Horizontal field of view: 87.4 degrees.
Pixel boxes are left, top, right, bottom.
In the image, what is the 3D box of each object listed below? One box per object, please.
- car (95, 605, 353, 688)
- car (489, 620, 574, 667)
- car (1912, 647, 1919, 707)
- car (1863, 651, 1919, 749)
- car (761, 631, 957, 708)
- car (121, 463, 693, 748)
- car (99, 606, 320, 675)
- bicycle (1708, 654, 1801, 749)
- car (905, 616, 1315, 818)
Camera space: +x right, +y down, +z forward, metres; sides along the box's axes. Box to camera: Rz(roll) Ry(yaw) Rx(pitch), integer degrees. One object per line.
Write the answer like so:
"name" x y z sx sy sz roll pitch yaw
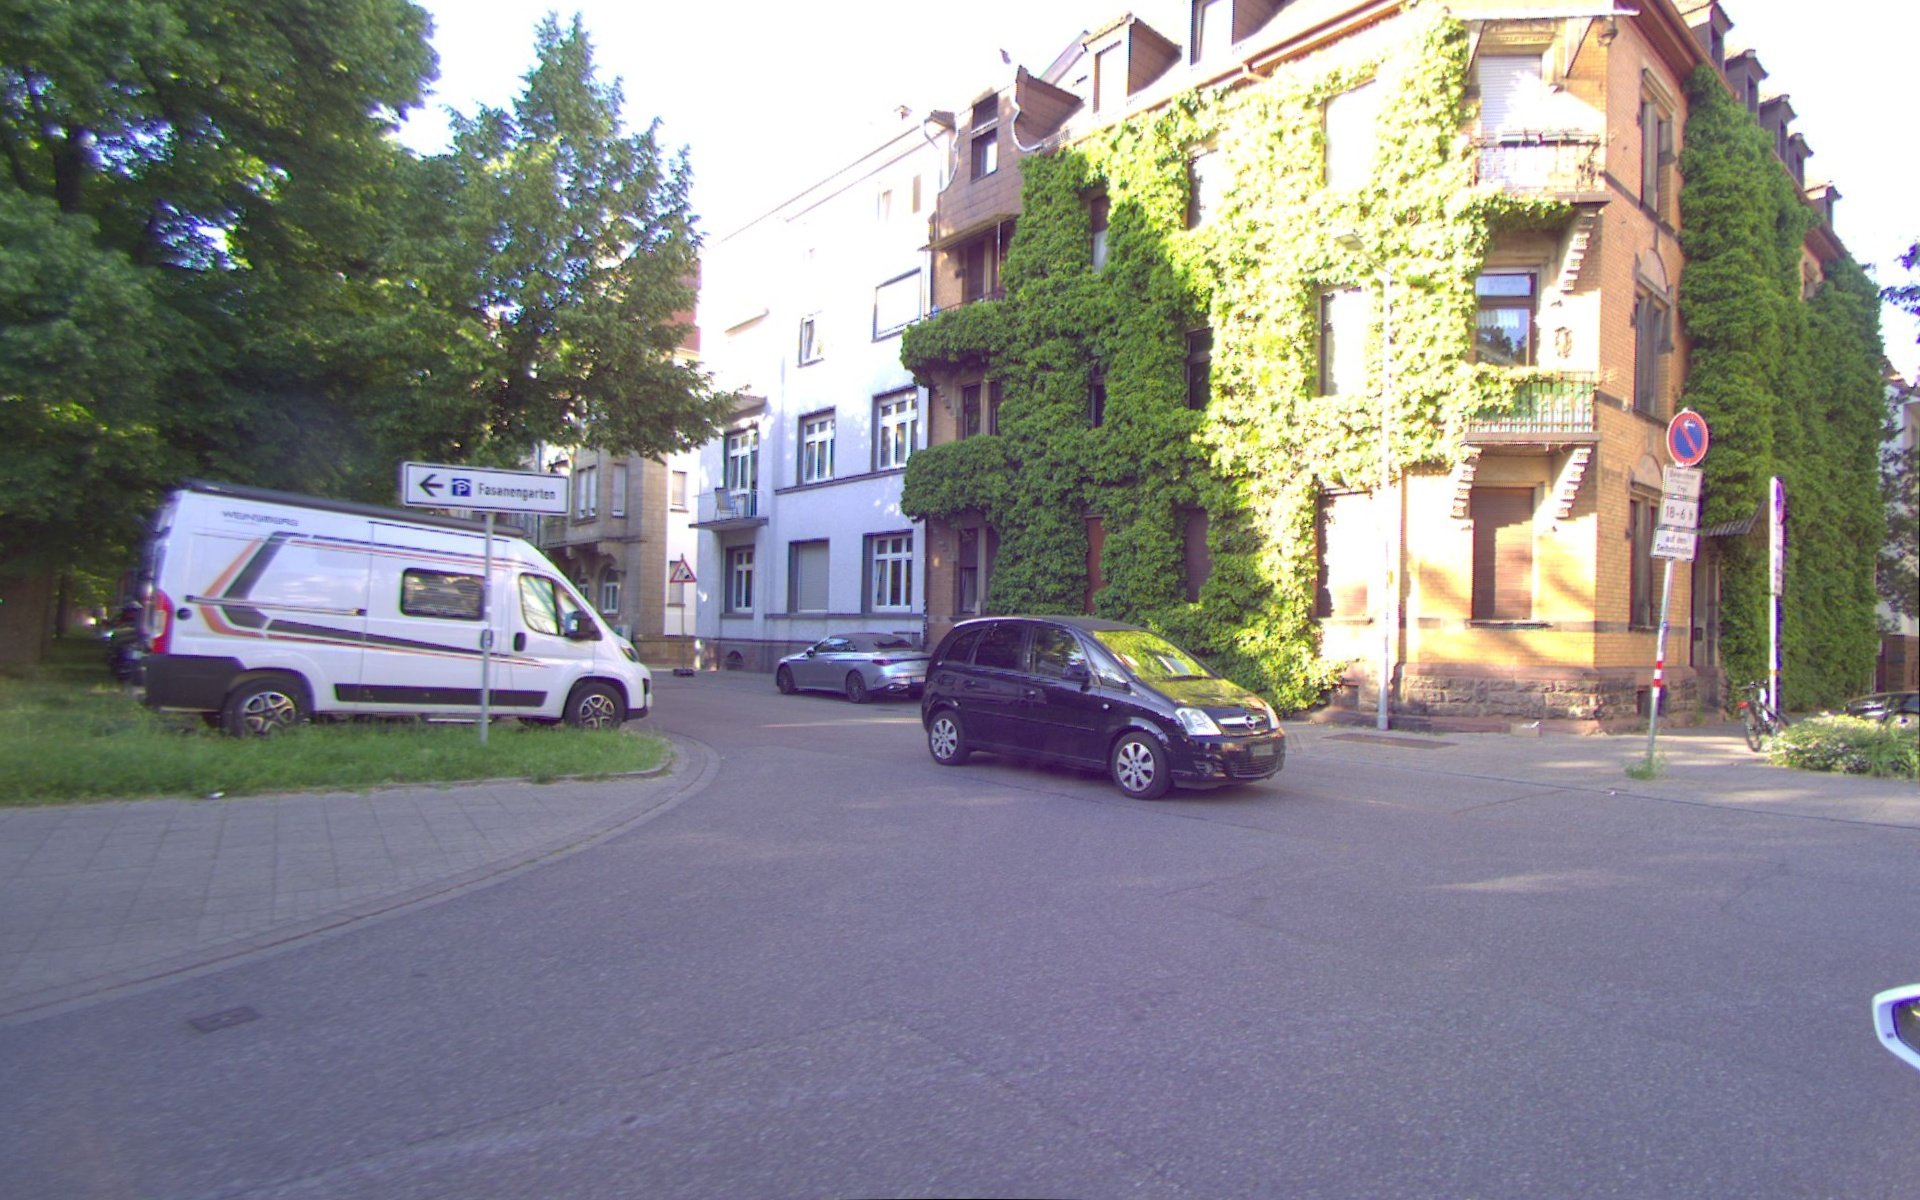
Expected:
"car" -14.263 0.891 19.583 3.854 1.461 1.954 3 -2 -43
"car" -16.318 1.627 38.197 1.855 1.567 3.746 3 -1 -42
"car" 25.347 1.929 23.158 1.697 1.454 4.793 3 -1 -40
"car" 16.356 1.605 14.879 1.984 1.454 4.206 3 -1 -40
"car" -2.353 1.448 22.282 1.869 1.423 4.865 0 -1 -42
"car" -6.329 0.133 12.063 5.592 2.649 2.210 3 -1 -43
"car" -17.101 0.920 22.974 3.854 1.395 1.954 3 -1 -43
"bicycle" 11.434 1.425 14.444 1.585 1.285 0.560 2 -2 -32
"car" 1.326 0.972 10.119 1.638 1.611 3.970 1 -1 -42
